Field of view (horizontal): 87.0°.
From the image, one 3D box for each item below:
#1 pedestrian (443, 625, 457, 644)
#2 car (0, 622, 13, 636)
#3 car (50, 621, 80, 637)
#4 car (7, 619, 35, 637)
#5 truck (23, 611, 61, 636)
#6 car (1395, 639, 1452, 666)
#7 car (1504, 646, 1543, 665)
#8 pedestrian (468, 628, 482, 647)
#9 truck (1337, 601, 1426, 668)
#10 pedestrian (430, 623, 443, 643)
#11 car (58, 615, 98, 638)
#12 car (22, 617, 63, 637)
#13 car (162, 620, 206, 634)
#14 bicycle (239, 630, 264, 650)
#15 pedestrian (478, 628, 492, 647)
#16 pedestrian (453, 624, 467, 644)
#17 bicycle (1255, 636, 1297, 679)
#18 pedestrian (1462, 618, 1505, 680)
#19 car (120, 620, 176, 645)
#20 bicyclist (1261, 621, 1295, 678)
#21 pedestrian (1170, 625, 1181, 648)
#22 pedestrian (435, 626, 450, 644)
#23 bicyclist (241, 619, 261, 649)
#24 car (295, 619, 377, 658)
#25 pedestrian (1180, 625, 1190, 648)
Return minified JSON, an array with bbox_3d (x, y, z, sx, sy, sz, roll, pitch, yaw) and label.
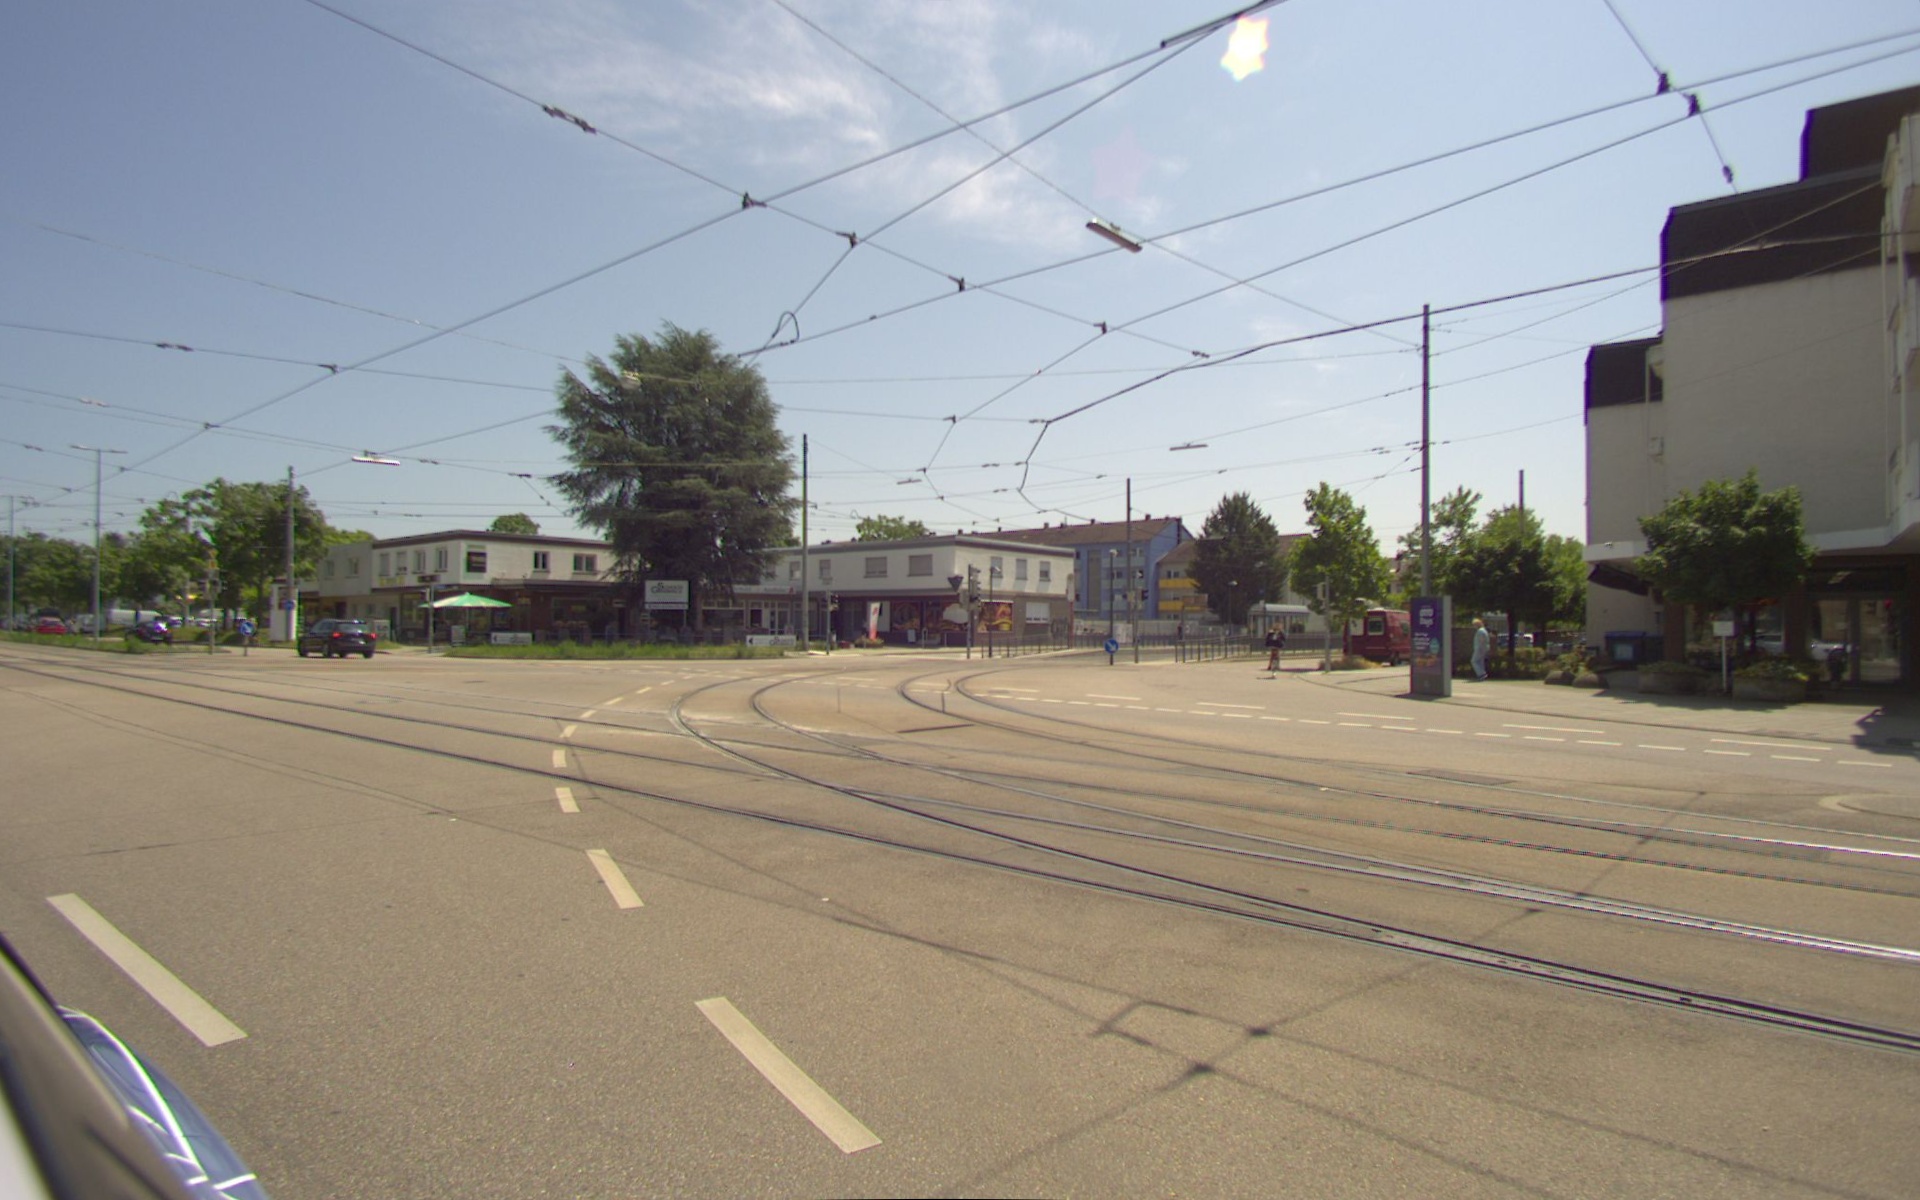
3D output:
[{"bbox_3d":[-32.180,2.155,63.833,0.674,1.208,0.512,-1,-3,40],"label":"pedestrian"},{"bbox_3d":[-118.049,3.517,124.559,3.820,1.716,1.660,-1,-3,39],"label":"car"},{"bbox_3d":[-83.149,2.701,93.973,3.567,1.397,1.653,-1,-3,42],"label":"car"},{"bbox_3d":[-105.489,3.105,113.697,4.505,1.989,1.660,-1,-3,39],"label":"car"},{"bbox_3d":[-94.943,2.438,104.637,4.925,2.561,2.197,-1,-3,40],"label":"truck"},{"bbox_3d":[22.209,2.513,48.479,1.589,1.228,3.532,-1,-3,40],"label":"car"},{"bbox_3d":[37.884,3.721,67.995,1.589,1.250,3.532,-1,-3,40],"label":"car"},{"bbox_3d":[-29.241,2.250,61.018,0.674,1.136,0.512,-1,-3,40],"label":"pedestrian"},{"bbox_3d":[18.377,1.520,43.973,2.185,2.719,4.975,-1,-3,40],"label":"truck"},{"bbox_3d":[-32.978,2.093,63.728,0.491,1.248,0.569,-1,-3,39],"label":"pedestrian"},{"bbox_3d":[-78.033,2.341,89.513,4.658,1.898,1.973,-1,-3,40],"label":"car"},{"bbox_3d":[-72.646,2.137,80.100,3.821,1.495,1.610,-1,-2,36],"label":"car"},{"bbox_3d":[-84.462,2.922,110.172,1.599,1.517,3.375,-1,-3,34],"label":"car"},{"bbox_3d":[-42.612,2.404,60.845,1.929,1.157,0.687,-2,-3,39],"label":"bicycle"},{"bbox_3d":[-28.141,2.211,59.943,0.674,1.136,0.512,-1,-3,40],"label":"pedestrian"},{"bbox_3d":[-31.775,2.167,64.287,0.674,1.218,0.512,-1,-3,40],"label":"pedestrian"},{"bbox_3d":[10.225,1.853,32.807,0.669,1.314,2.105,1,-2,0],"label":"bicycle"},{"bbox_3d":[14.724,1.364,28.456,0.689,1.709,0.810,1,-2,-22],"label":"pedestrian"},{"bbox_3d":[-48.259,1.937,60.120,3.860,1.449,1.693,-1,-3,38],"label":"car"},{"bbox_3d":[10.226,1.597,32.606,0.724,1.776,1.135,1,-2,0],"label":"bicyclist"},{"bbox_3d":[18.336,3.100,85.999,0.679,1.917,0.640,-1,-3,40],"label":"pedestrian"},{"bbox_3d":[-33.013,2.219,64.596,0.810,1.136,0.558,-1,-3,40],"label":"pedestrian"},{"bbox_3d":[-42.647,2.073,60.885,1.136,1.779,0.687,-2,-3,39],"label":"bicyclist"},{"bbox_3d":[-26.773,1.652,43.381,4.493,1.591,1.775,-1,-3,42],"label":"car"},{"bbox_3d":[19.005,3.050,85.489,0.679,1.917,0.640,-1,-3,40],"label":"pedestrian"}]
